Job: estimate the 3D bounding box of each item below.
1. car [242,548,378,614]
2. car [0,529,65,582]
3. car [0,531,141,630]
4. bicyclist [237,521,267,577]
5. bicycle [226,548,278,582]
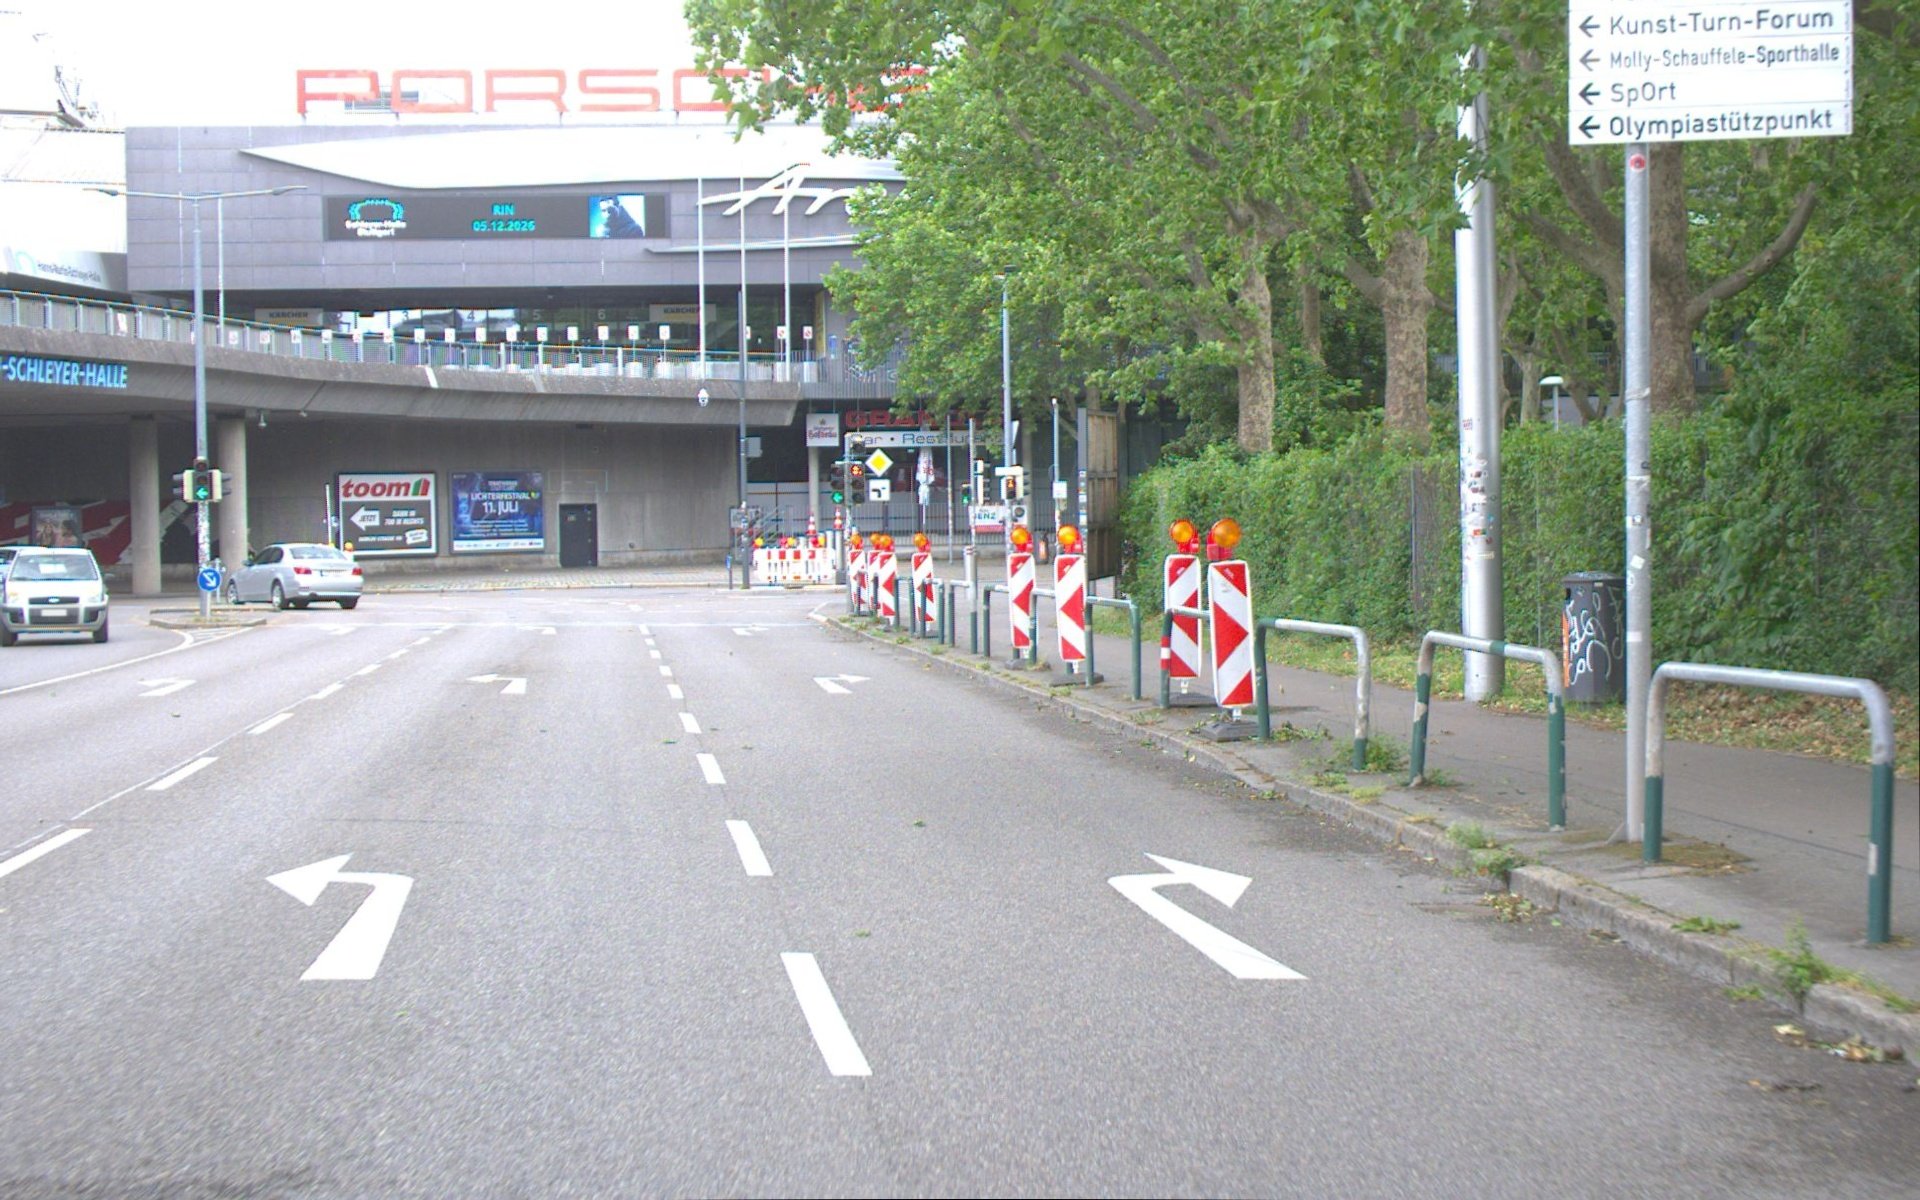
[{"bbox_3d":[-14.591,-0.439,77.036,1.993,1.414,4.001,-1,1,-26],"label":"car"},{"bbox_3d":[-24.043,-1.113,85.601,3.391,1.308,1.613,1,1,35],"label":"car"},{"bbox_3d":[-14.720,-0.331,56.367,1.993,1.520,4.001,-1,1,-6],"label":"car"},{"bbox_3d":[-21.723,-1.575,105.550,0.851,1.692,0.767,1,1,-9],"label":"bicyclist"},{"bbox_3d":[-21.725,-1.077,105.551,1.532,1.009,0.517,1,1,-9],"label":"bicycle"}]
